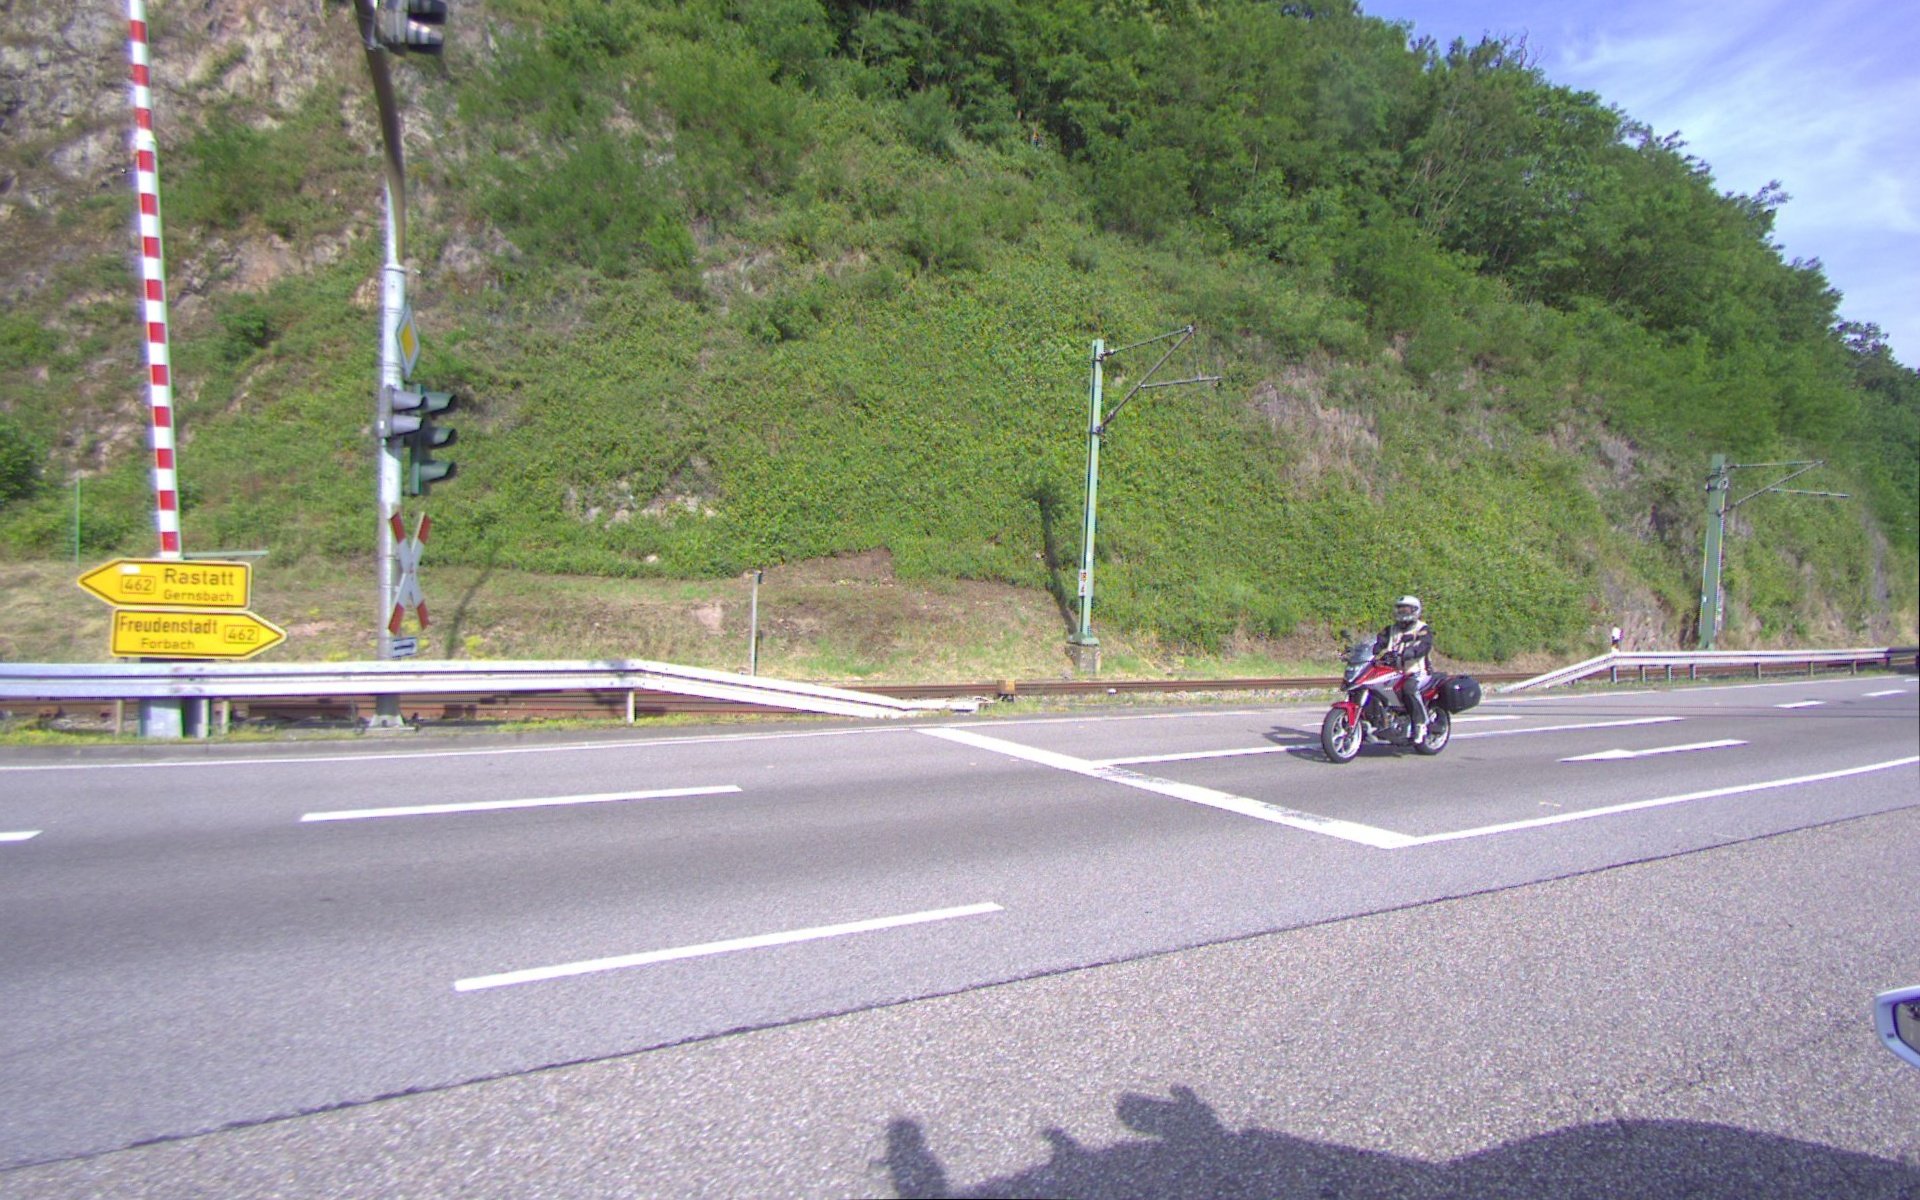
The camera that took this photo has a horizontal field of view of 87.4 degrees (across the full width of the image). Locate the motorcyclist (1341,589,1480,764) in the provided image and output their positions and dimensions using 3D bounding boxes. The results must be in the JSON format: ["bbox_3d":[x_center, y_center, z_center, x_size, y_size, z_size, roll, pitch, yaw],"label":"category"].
[{"bbox_3d":[4.753,0.763,10.631,0.856,1.738,1.000,2,0,-32],"label":"motorcyclist"}]

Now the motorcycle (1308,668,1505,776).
[{"bbox_3d":[4.751,1.237,10.634,2.193,0.967,0.819,2,0,-32],"label":"motorcycle"}]
